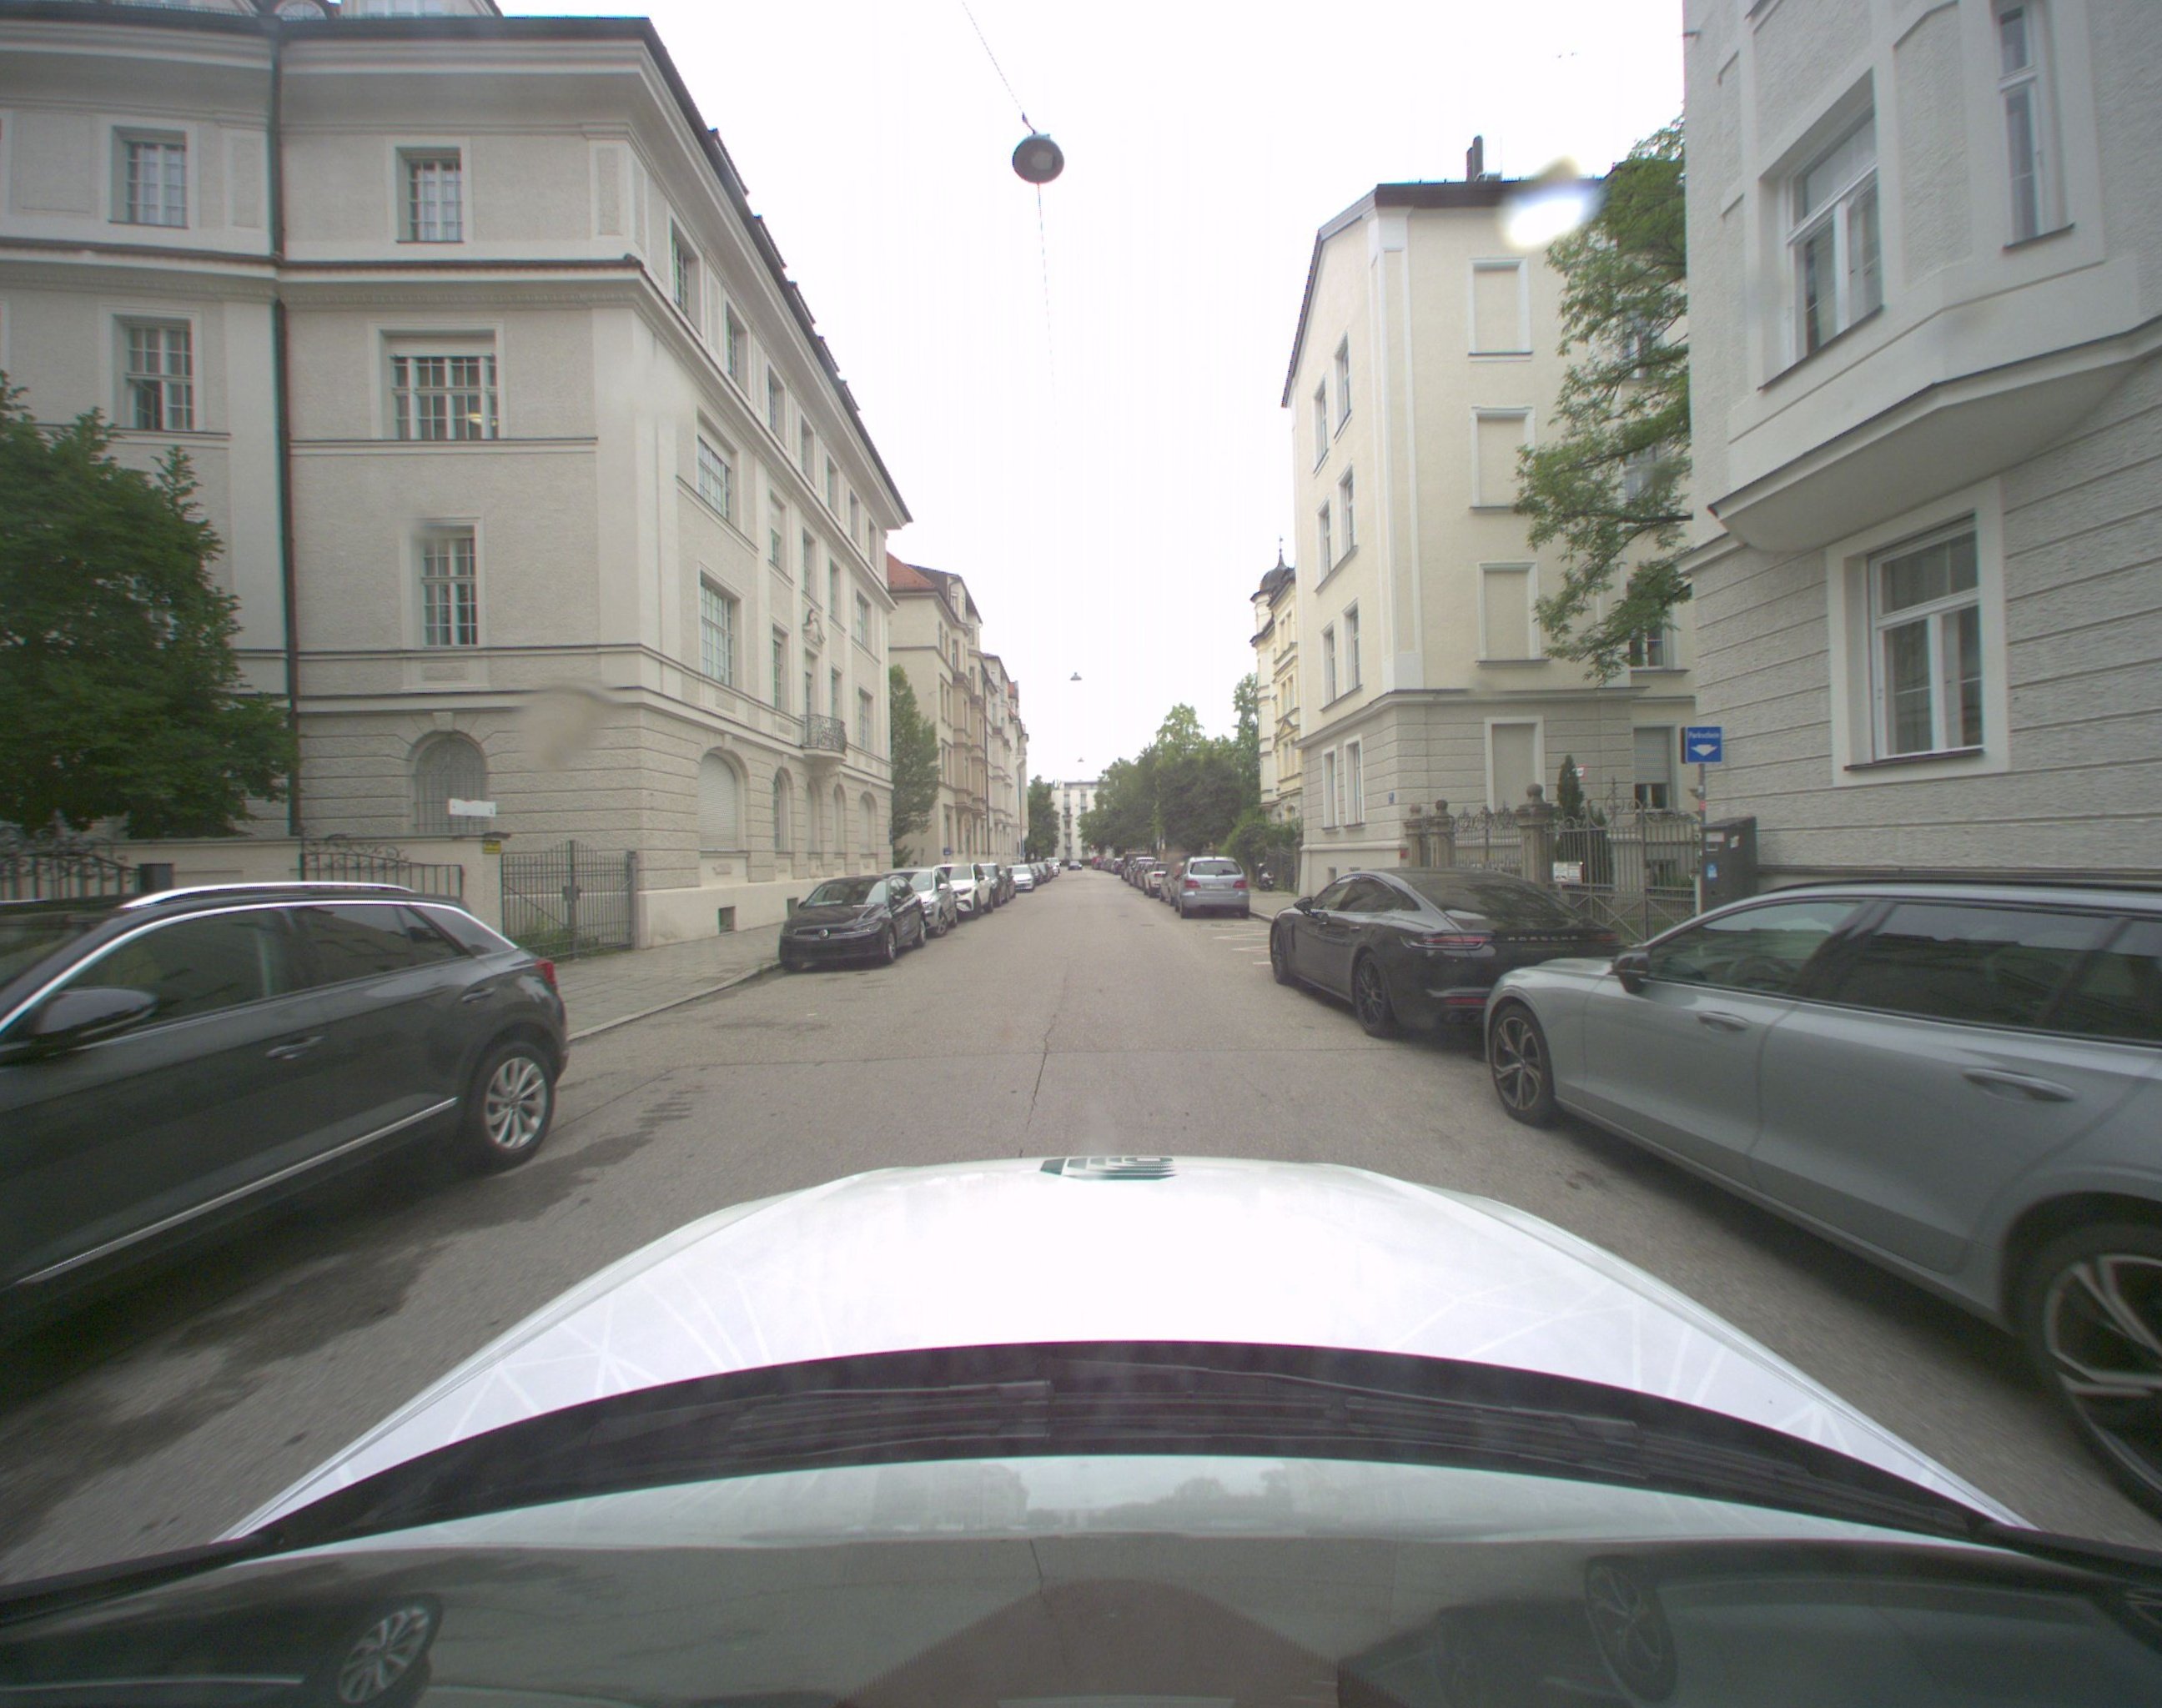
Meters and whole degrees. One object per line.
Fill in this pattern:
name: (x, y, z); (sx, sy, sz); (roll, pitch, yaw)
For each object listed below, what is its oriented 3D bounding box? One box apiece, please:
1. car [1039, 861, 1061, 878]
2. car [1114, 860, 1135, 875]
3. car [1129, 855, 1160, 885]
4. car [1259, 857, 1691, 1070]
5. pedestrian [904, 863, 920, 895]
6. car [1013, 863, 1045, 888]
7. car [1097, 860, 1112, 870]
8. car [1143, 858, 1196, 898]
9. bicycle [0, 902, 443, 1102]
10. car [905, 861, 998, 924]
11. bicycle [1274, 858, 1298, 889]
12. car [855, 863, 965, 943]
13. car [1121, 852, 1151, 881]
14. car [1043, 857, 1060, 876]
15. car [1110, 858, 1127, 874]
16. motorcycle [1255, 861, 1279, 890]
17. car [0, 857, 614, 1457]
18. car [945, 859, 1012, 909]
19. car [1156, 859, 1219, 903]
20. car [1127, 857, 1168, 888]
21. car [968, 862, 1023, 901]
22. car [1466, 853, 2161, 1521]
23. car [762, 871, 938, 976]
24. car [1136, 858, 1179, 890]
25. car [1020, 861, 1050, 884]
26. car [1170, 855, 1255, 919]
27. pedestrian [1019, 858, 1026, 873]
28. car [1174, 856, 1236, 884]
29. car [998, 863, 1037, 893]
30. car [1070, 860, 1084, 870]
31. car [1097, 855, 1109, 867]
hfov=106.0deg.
car: (-3.020, 1.551, 80.740); (1.830, 1.438, 4.275); (-5, 0, 1)
car: (4.147, 1.276, 78.342); (1.832, 1.413, 4.342); (-1, -1, 1)
car: (3.922, 1.005, 50.791); (1.716, 1.769, 4.414); (1, -1, 1)
car: (3.380, 0.804, 8.265); (1.988, 1.457, 4.709); (-2, 0, -1)
pedestrian: (-8.714, 1.290, 41.982); (0.671, 1.626, 0.630); (-2, -1, -3)
car: (-3.434, 1.380, 54.502); (1.828, 1.434, 4.552); (-3, 0, -1)
car: (3.404, 1.580, 117.023); (1.834, 1.519, 3.943); (-1, -1, -3)
car: (3.555, 0.943, 33.312); (1.778, 1.504, 4.065); (-1, 0, 1)
bicycle: (-7.306, 1.131, 7.159); (1.147, 1.242, 2.717); (2, 0, 1)
car: (-3.719, 1.059, 24.246); (1.908, 1.618, 4.572); (-2, 0, 1)
bicycle: (7.707, 0.726, 30.735); (0.432, 1.126, 1.882); (-2, 0, 1)
car: (-3.880, 1.046, 19.203); (1.778, 1.541, 4.253); (-4, 0, -3)
car: (4.013, 0.888, 60.267); (1.944, 1.954, 4.665); (0, 1, 0)
car: (-3.603, 1.481, 99.238); (1.881, 2.127, 4.703); (-5, 0, -1)
car: (4.046, 1.264, 88.324); (1.510, 1.661, 3.671); (-1, -1, -2)
motorcycle: (7.488, 0.832, 32.825); (0.604, 1.112, 1.966); (-2, -1, 4)
car: (-3.834, 0.880, 3.073); (1.722, 1.618, 4.119); (-4, 0, -1)
car: (-3.652, 1.027, 29.746); (1.830, 1.618, 4.244); (-2, 0, 0)
car: (3.605, 0.891, 28.034); (1.748, 1.406, 3.451); (-1, 0, 1)
car: (3.693, 1.006, 45.636); (1.746, 1.610, 4.419); (0, 0, -3)
car: (-3.526, 1.108, 34.157); (1.781, 1.412, 4.366); (-2, 0, 0)
car: (3.320, 0.751, 3.040); (1.754, 1.485, 4.421); (1, 0, 1)
car: (-3.876, 1.094, 14.508); (1.787, 1.415, 4.278); (-4, -1, 0)
car: (3.792, 0.983, 41.055); (1.679, 1.504, 4.015); (-1, 0, -2)
car: (-3.350, 1.336, 59.964); (1.830, 1.435, 4.245); (-5, 0, 1)
car: (3.515, 0.823, 22.504); (1.815, 1.569, 4.403); (1, 0, 3)
pedestrian: (-6.747, 1.334, 94.316); (0.790, 1.679, 0.699); (-2, -1, -4)
car: (9.874, 1.248, 65.088); (4.524, 1.950, 1.900); (-2, 1, -6)
car: (-3.459, 1.286, 45.026); (1.831, 1.434, 4.242); (-3, 0, -1)
car: (-0.630, 1.611, 122.407); (1.869, 1.428, 4.405); (-2, 0, -2)
car: (3.476, 1.071, 128.963); (1.829, 1.927, 4.007); (1, 0, 3)
